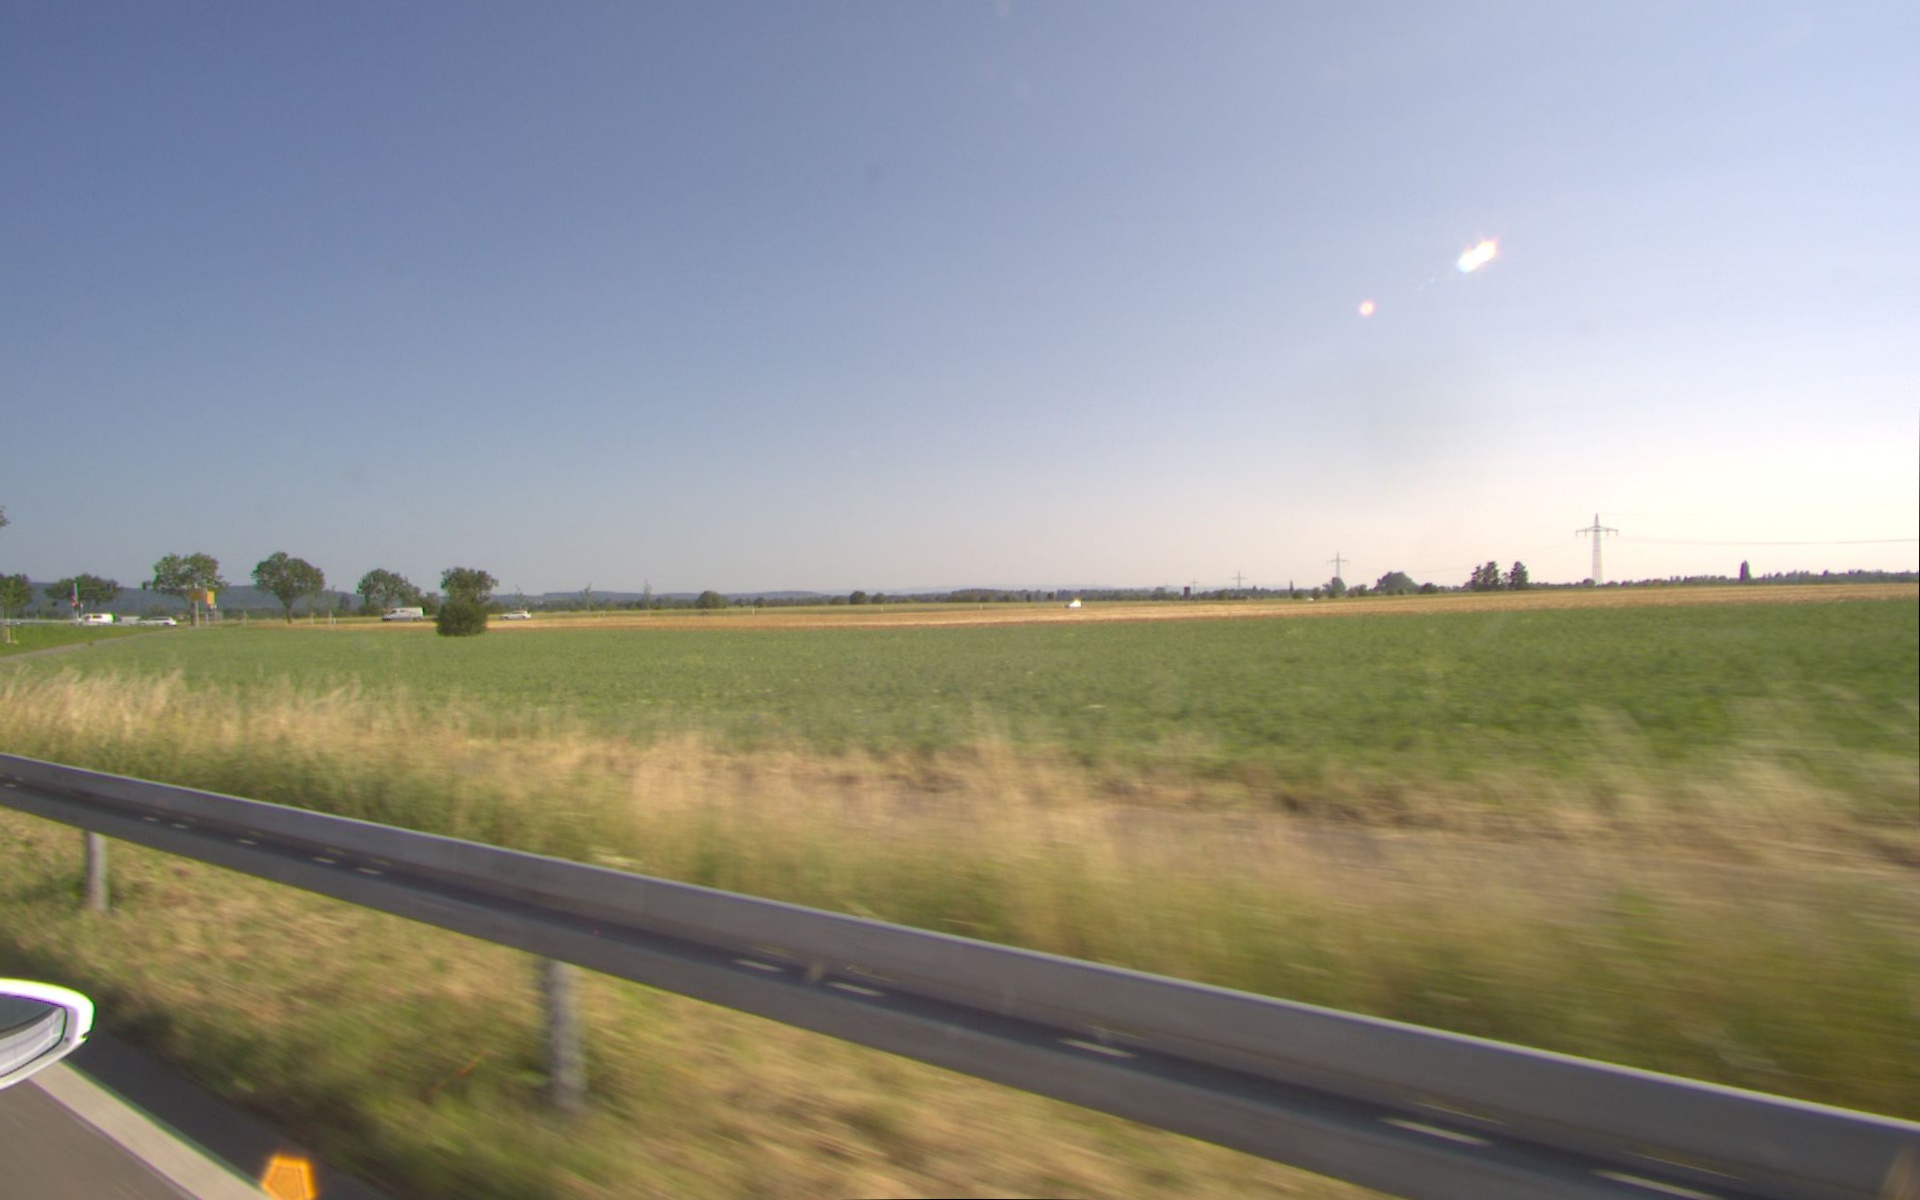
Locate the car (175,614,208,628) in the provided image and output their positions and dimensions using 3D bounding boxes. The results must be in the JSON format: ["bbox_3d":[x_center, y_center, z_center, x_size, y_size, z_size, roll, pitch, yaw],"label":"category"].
[{"bbox_3d":[-118.192,3.214,153.983,3.957,2.039,1.984,1,-2,-40],"label":"car"}]

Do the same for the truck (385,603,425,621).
[{"bbox_3d":[-90.609,1.998,163.490,5.511,2.729,3.283,0,-2,-25],"label":"truck"}]

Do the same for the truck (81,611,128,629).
[{"bbox_3d":[-125.447,2.965,146.865,1.975,2.561,5.033,-2,-2,37],"label":"truck"}]

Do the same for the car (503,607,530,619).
[{"bbox_3d":[-74.835,2.205,169.109,3.932,2.040,1.995,-1,0,-21],"label":"car"}]
